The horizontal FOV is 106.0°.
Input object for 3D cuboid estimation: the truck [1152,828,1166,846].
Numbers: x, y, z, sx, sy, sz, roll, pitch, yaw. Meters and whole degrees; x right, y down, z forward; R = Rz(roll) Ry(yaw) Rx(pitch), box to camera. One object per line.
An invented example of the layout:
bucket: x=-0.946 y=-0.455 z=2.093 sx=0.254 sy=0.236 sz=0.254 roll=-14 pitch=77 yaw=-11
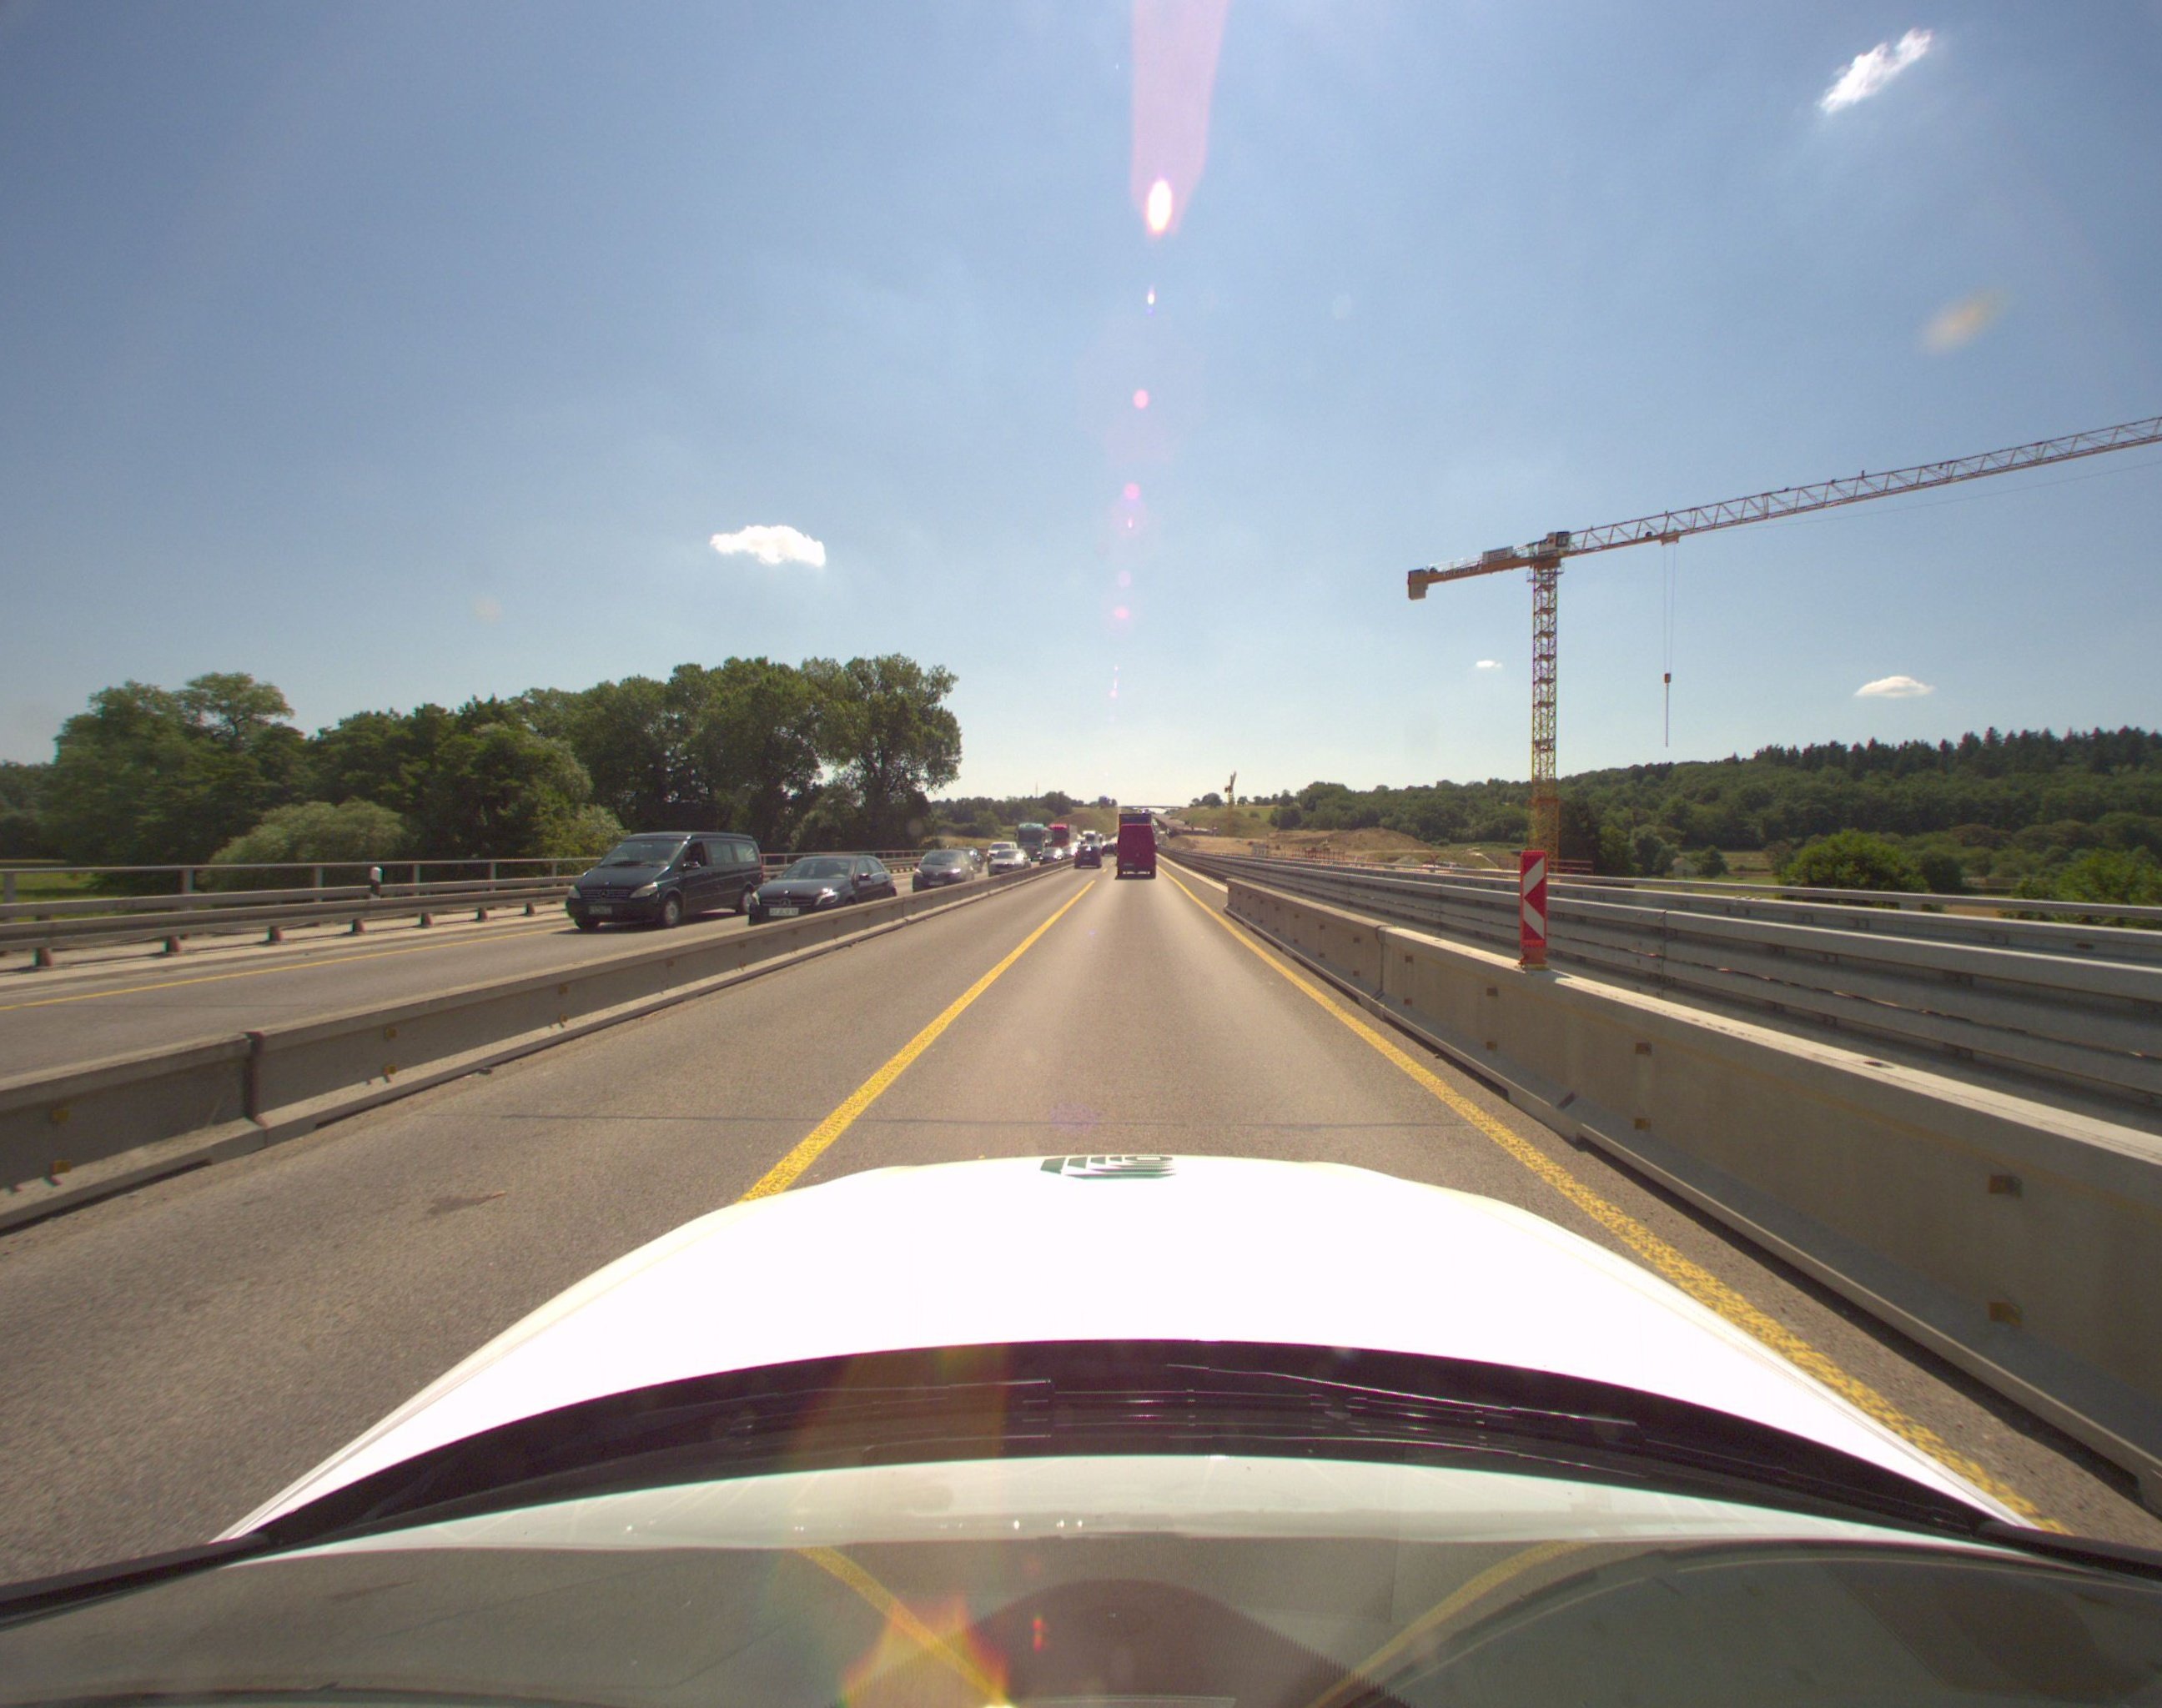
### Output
truck: x=14.422 y=-3.165 z=150.896 sx=2.282 sy=3.196 sz=6.487 roll=0 pitch=1 yaw=2

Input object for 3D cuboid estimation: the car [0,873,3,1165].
car: x=-5.992 y=0.795 z=1.623 sx=1.662 sy=1.365 sz=4.443 roll=1 pitch=1 yaw=3

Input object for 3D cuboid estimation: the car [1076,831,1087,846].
car: x=0.172 y=-2.594 z=136.497 sx=1.611 sy=2.602 sz=3.893 roll=1 pitch=1 yaw=3

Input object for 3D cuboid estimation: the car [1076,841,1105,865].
car: x=0.678 y=-0.108 z=57.610 sx=1.726 sy=1.635 sz=4.395 roll=1 pitch=1 yaw=5

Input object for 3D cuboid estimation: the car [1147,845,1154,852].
car: x=18.404 y=-1.486 z=215.303 sx=1.611 sy=1.836 sz=3.891 roll=1 pitch=0 yaw=2

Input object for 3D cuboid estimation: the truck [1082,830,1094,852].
truck: x=1.345 y=-2.478 z=160.079 sx=1.985 sy=4.006 sz=6.486 roll=0 pitch=-3 yaw=3

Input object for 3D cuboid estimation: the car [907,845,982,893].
car: x=-4.621 y=0.457 z=28.162 sx=1.718 sy=1.496 sz=4.137 roll=1 pitch=1 yaw=2

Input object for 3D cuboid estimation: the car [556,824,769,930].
car: x=-8.727 y=0.389 z=17.627 sx=1.813 sy=1.943 sz=5.067 roll=1 pitch=1 yaw=2

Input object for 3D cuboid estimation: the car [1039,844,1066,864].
car: x=-2.211 y=-0.045 z=63.964 sx=1.813 sy=1.496 sz=4.137 roll=1 pitch=1 yaw=2

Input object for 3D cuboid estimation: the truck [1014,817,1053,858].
truck: x=-4.795 y=-1.686 z=84.587 sx=2.797 sy=3.963 sz=12.142 roll=1 pitch=1 yaw=2

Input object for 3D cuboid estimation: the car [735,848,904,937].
car: x=-5.023 y=0.643 z=16.359 sx=1.750 sy=1.496 sz=4.443 roll=1 pitch=1 yaw=3

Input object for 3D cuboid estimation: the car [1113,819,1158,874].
car: x=2.833 y=-0.406 z=42.107 sx=2.140 sy=2.610 sz=5.445 roll=1 pitch=1 yaw=4

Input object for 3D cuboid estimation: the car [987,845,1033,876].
car: x=-3.581 y=0.281 z=41.597 sx=1.813 sy=1.496 sz=4.137 roll=1 pitch=1 yaw=2

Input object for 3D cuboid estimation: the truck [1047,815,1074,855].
truck: x=-2.599 y=-2.458 z=107.518 sx=2.797 sy=4.939 sz=12.142 roll=1 pitch=1 yaw=2

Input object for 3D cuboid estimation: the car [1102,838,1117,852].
car: x=3.564 y=-1.157 z=101.387 sx=1.813 sy=1.696 sz=4.137 roll=1 pitch=1 yaw=2

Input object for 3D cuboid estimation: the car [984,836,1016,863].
car: x=-6.178 y=-0.374 z=62.348 sx=1.987 sy=2.013 sz=4.001 roll=0 pitch=1 yaw=1

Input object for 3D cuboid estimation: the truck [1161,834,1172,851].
truck: x=20.707 y=-2.698 z=196.812 sx=2.281 sy=3.739 sz=6.486 roll=0 pitch=-3 yaw=3

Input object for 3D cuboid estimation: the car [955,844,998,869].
car: x=-6.515 y=0.106 z=51.286 sx=1.813 sy=1.496 sz=5.176 roll=1 pitch=1 yaw=2

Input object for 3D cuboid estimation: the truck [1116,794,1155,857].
truck: x=4.420 y=-2.264 z=67.313 sx=2.933 sy=4.945 sz=6.745 roll=0 pitch=1 yaw=2

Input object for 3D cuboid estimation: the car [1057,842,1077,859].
car: x=-1.383 y=-0.357 z=78.897 sx=1.703 sy=1.496 sz=3.604 roll=1 pitch=1 yaw=2

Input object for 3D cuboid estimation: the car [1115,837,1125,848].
car: x=6.407 y=-1.822 z=132.236 sx=1.611 sy=1.699 sz=3.893 roll=1 pitch=1 yaw=3

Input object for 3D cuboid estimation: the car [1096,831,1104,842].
car: x=4.343 y=-3.993 z=186.915 sx=1.611 sy=2.602 sz=3.892 roll=1 pitch=0 yaw=3
